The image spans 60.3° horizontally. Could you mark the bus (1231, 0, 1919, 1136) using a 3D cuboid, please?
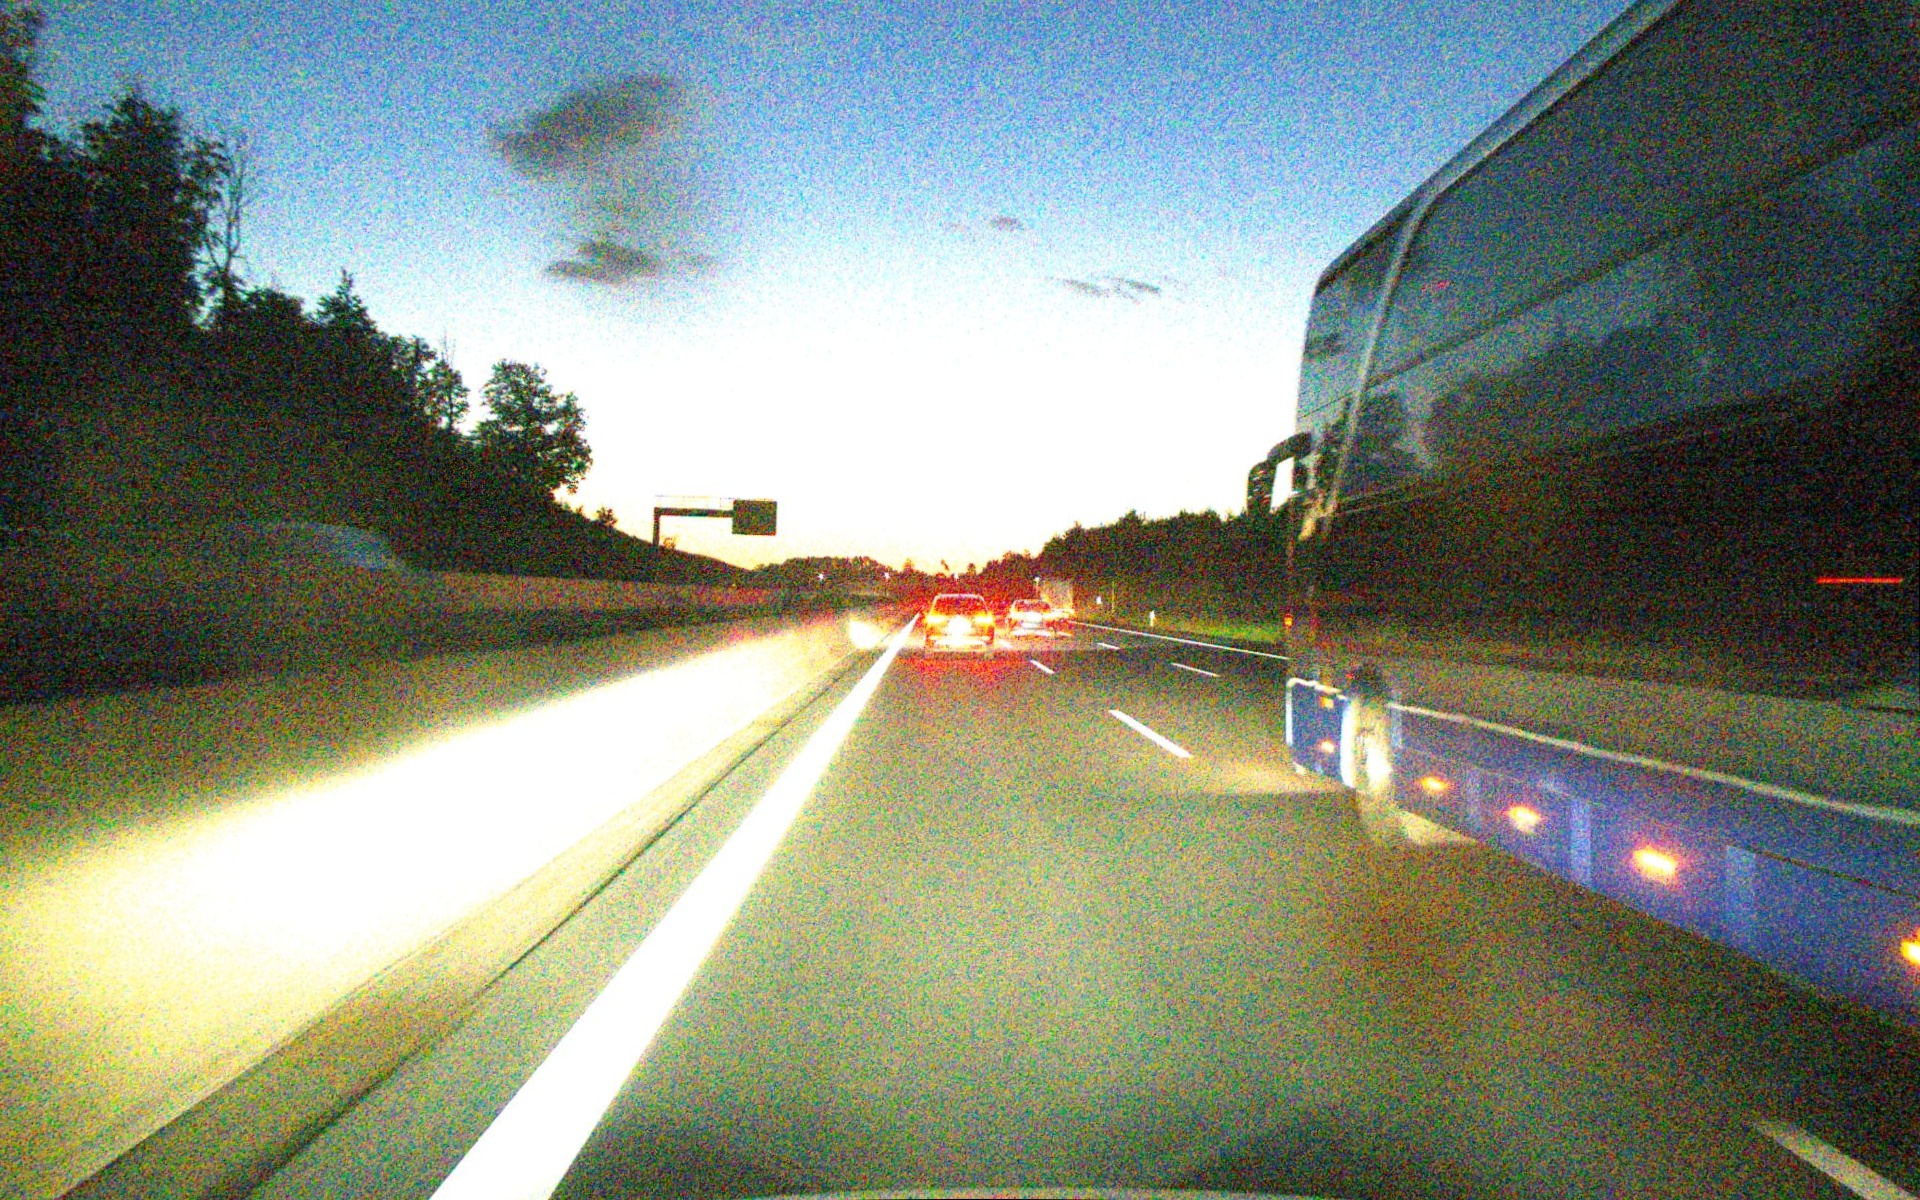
[{"bbox_3d":[3.821,-0.586,6.763,2.598,4.064,14.697,1,0,-1],"label":"bus"}]

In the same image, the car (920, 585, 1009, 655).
[{"bbox_3d":[0.059,0.496,42.376,2.063,1.646,4.202,2,0,-2],"label":"car"}]

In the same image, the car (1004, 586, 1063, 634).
[{"bbox_3d":[2.761,0.366,63.297,1.873,1.760,3.998,1,0,-3],"label":"car"}]

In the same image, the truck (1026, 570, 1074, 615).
[{"bbox_3d":[6.172,-0.502,114.389,2.550,2.925,7.483,3,0,-2],"label":"truck"}]

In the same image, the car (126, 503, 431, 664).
[{"bbox_3d":[-8.350,-0.232,20.800,1.953,1.664,4.747,4,1,-3],"label":"car"}]
